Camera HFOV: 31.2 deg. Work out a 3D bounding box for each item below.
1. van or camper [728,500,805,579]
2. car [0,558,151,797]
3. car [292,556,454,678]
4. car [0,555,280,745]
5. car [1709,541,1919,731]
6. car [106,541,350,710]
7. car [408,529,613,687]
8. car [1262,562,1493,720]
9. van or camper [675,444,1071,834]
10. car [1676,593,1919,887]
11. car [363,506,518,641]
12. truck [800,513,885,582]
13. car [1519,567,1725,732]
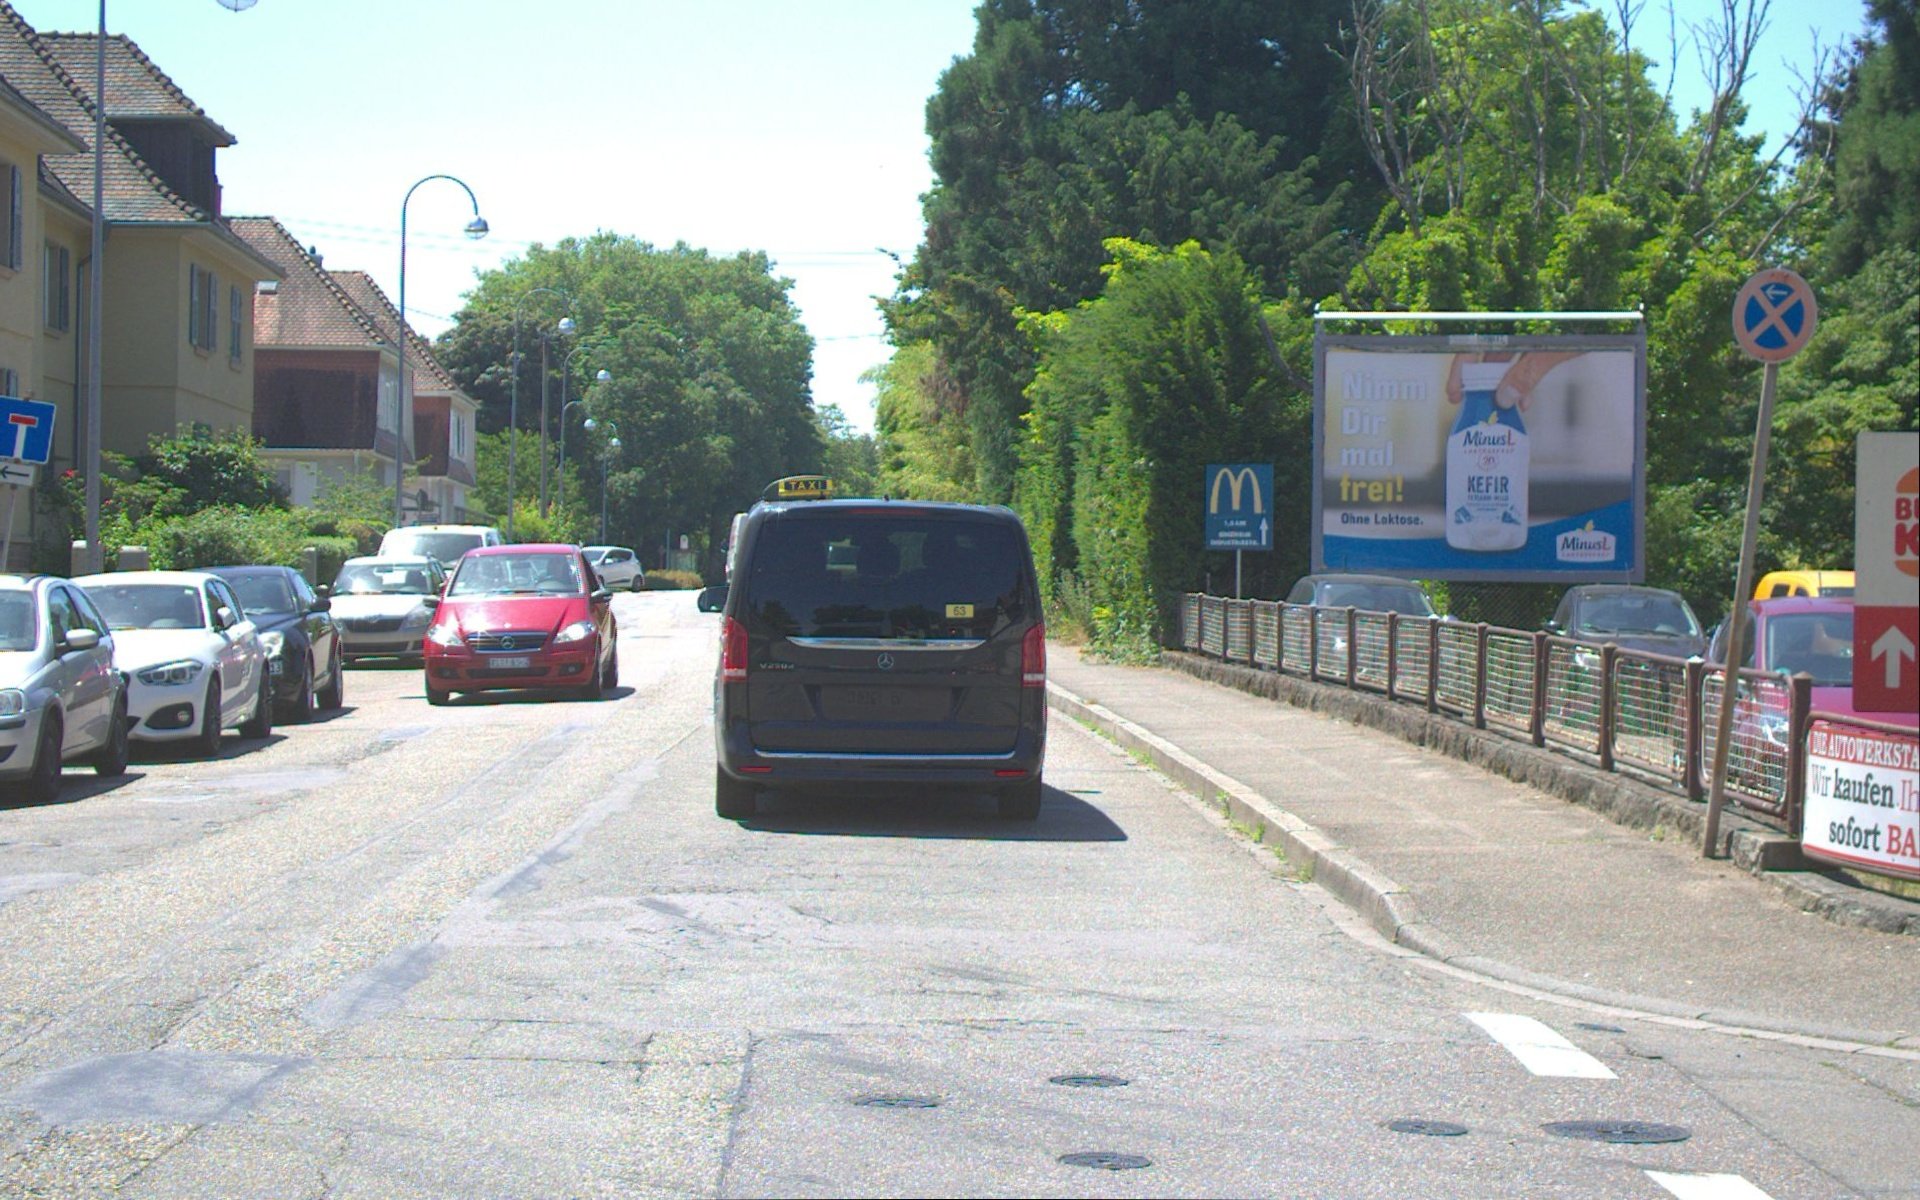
[{"bbox_3d":[-6.272,-1.938,111.212,2.262,2.520,4.760,0,0,-6],"label":"van or camper"},{"bbox_3d":[-6.566,0.453,22.662,1.759,1.442,3.925,0,1,-4],"label":"car"},{"bbox_3d":[-7.893,0.188,46.495,1.686,1.520,4.063,1,1,-3],"label":"car"},{"bbox_3d":[-6.632,0.352,27.504,1.794,1.397,4.219,0,1,-4],"label":"car"},{"bbox_3d":[9.363,0.367,36.032,1.774,1.793,4.166,5,0,-3],"label":"car"},{"bbox_3d":[-6.890,0.211,32.696,1.715,1.480,4.077,-1,0,-4],"label":"car"},{"bbox_3d":[-4.652,0.058,36.014,1.814,1.560,3.697,0,1,-2],"label":"car"},{"bbox_3d":[4.365,0.396,36.397,1.631,1.454,3.557,5,0,-5],"label":"car"},{"bbox_3d":[-0.674,0.177,20.889,1.902,2.007,5.271,2,1,-6],"label":"van or camper"},{"bbox_3d":[5.291,0.746,20.086,1.712,1.518,3.839,1,0,5],"label":"car"},{"bbox_3d":[-8.011,-0.439,53.357,1.878,1.956,4.626,-1,1,-3],"label":"car"},{"bbox_3d":[-4.002,-1.759,116.216,2.355,2.251,6.093,1,0,-6],"label":"truck"},{"bbox_3d":[6.977,0.498,36.498,1.632,1.538,3.392,5,0,4],"label":"car"}]
